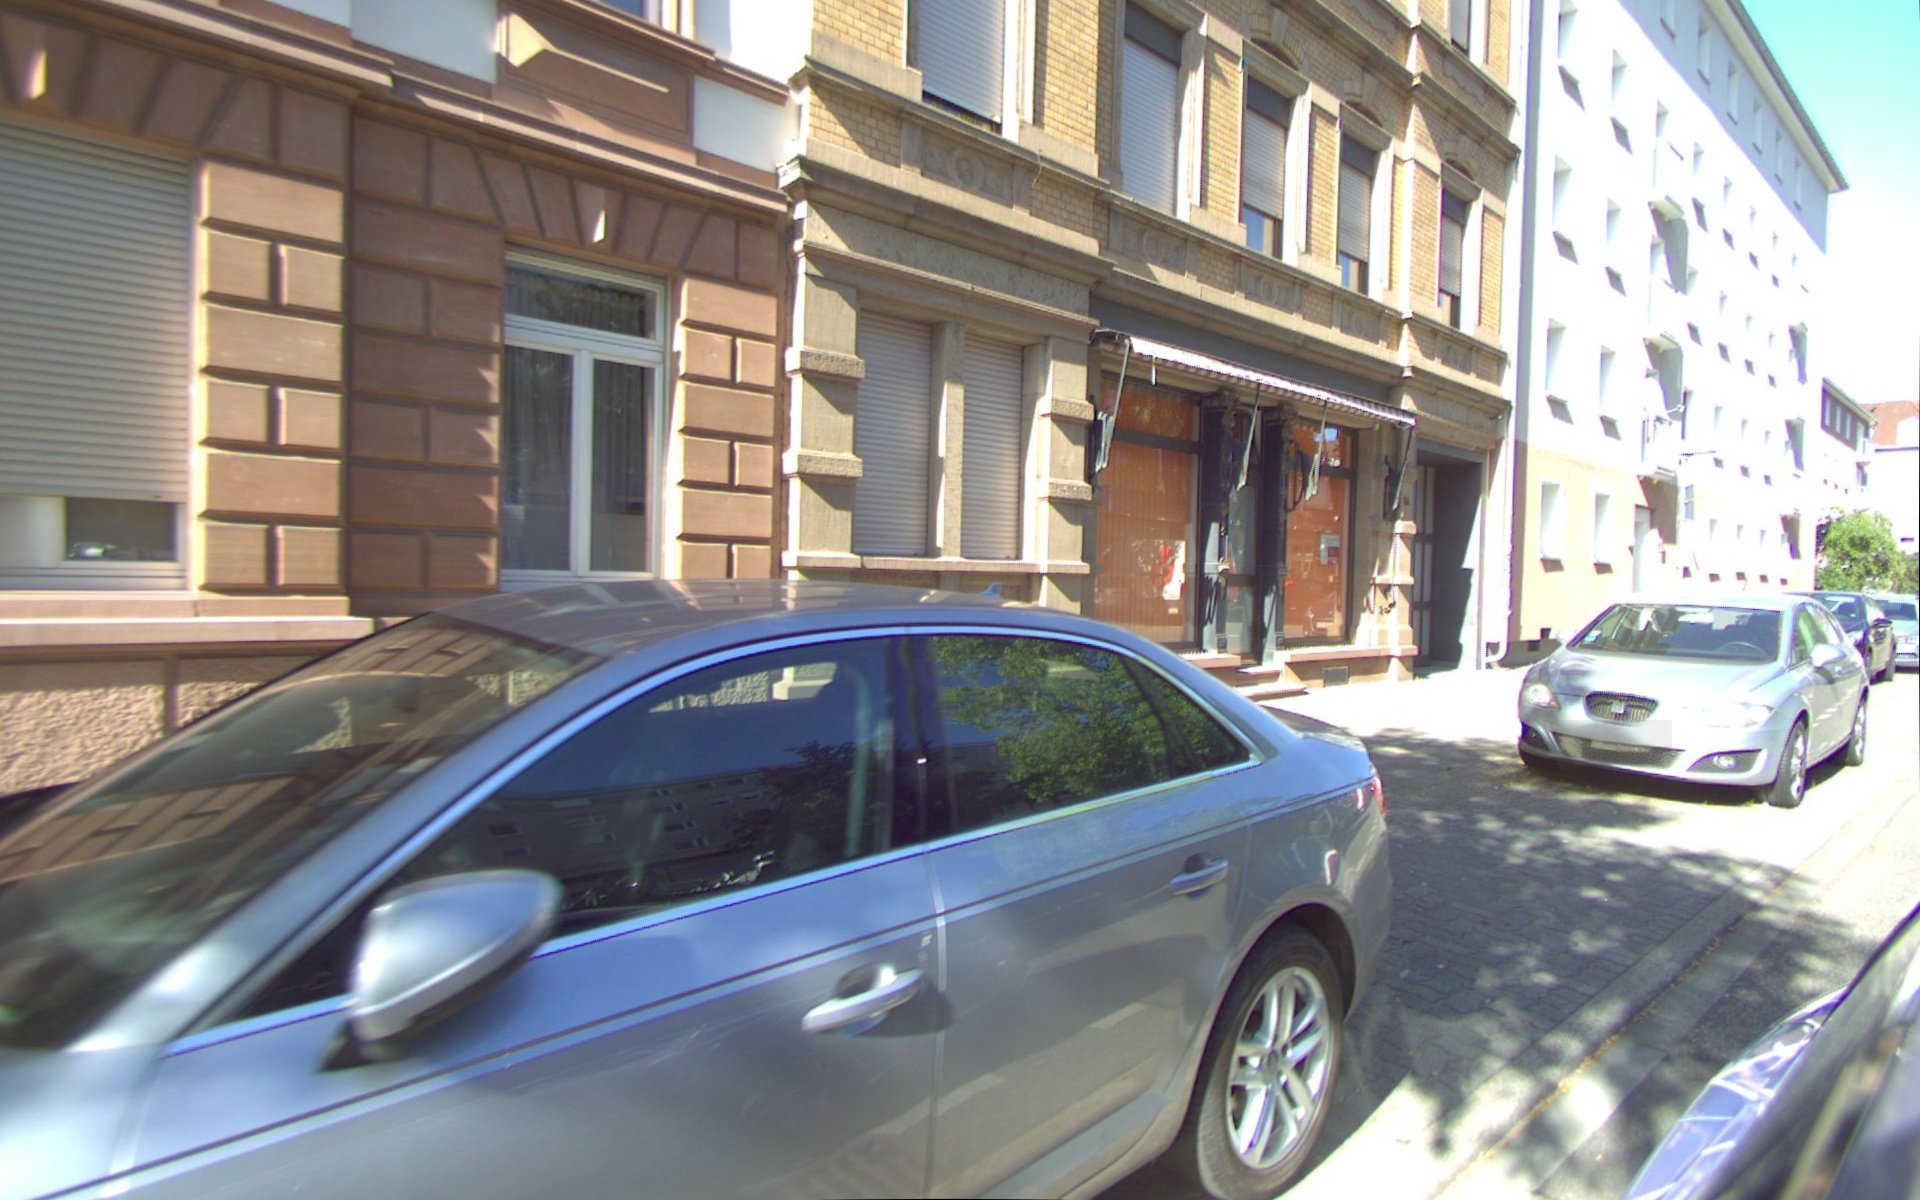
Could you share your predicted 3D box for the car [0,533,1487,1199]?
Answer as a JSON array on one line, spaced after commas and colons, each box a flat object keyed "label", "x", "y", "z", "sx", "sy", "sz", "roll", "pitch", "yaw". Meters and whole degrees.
[{"label": "car", "x": -0.700, "y": 0.645, "z": 2.073, "sx": 4.233, "sy": 1.469, "sz": 1.742, "roll": 0, "pitch": 2, "yaw": -42}]

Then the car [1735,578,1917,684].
[{"label": "car", "x": 14.143, "y": 0.434, "z": 16.472, "sx": 3.645, "sy": 1.498, "sz": 1.712, "roll": 0, "pitch": 2, "yaw": -41}]

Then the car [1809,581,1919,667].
[{"label": "car", "x": 18.677, "y": 0.429, "z": 20.174, "sx": 4.434, "sy": 1.478, "sz": 1.791, "roll": 0, "pitch": 3, "yaw": -39}]

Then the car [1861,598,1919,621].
[{"label": "car", "x": 61.561, "y": 0.622, "z": 66.230, "sx": 1.540, "sy": 1.419, "sz": 3.647, "roll": 1, "pitch": 2, "yaw": -40}]

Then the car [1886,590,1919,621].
[{"label": "car", "x": 66.369, "y": 0.404, "z": 68.893, "sx": 1.967, "sy": 2.038, "sz": 4.747, "roll": 0, "pitch": 2, "yaw": -44}]

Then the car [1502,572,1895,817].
[{"label": "car", "x": 6.089, "y": 0.564, "z": 8.177, "sx": 3.931, "sy": 1.469, "sz": 1.742, "roll": 0, "pitch": 2, "yaw": -42}]

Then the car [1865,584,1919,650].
[{"label": "car", "x": 23.869, "y": 0.419, "z": 25.046, "sx": 3.729, "sy": 1.504, "sz": 1.734, "roll": 0, "pitch": 4, "yaw": -42}]
